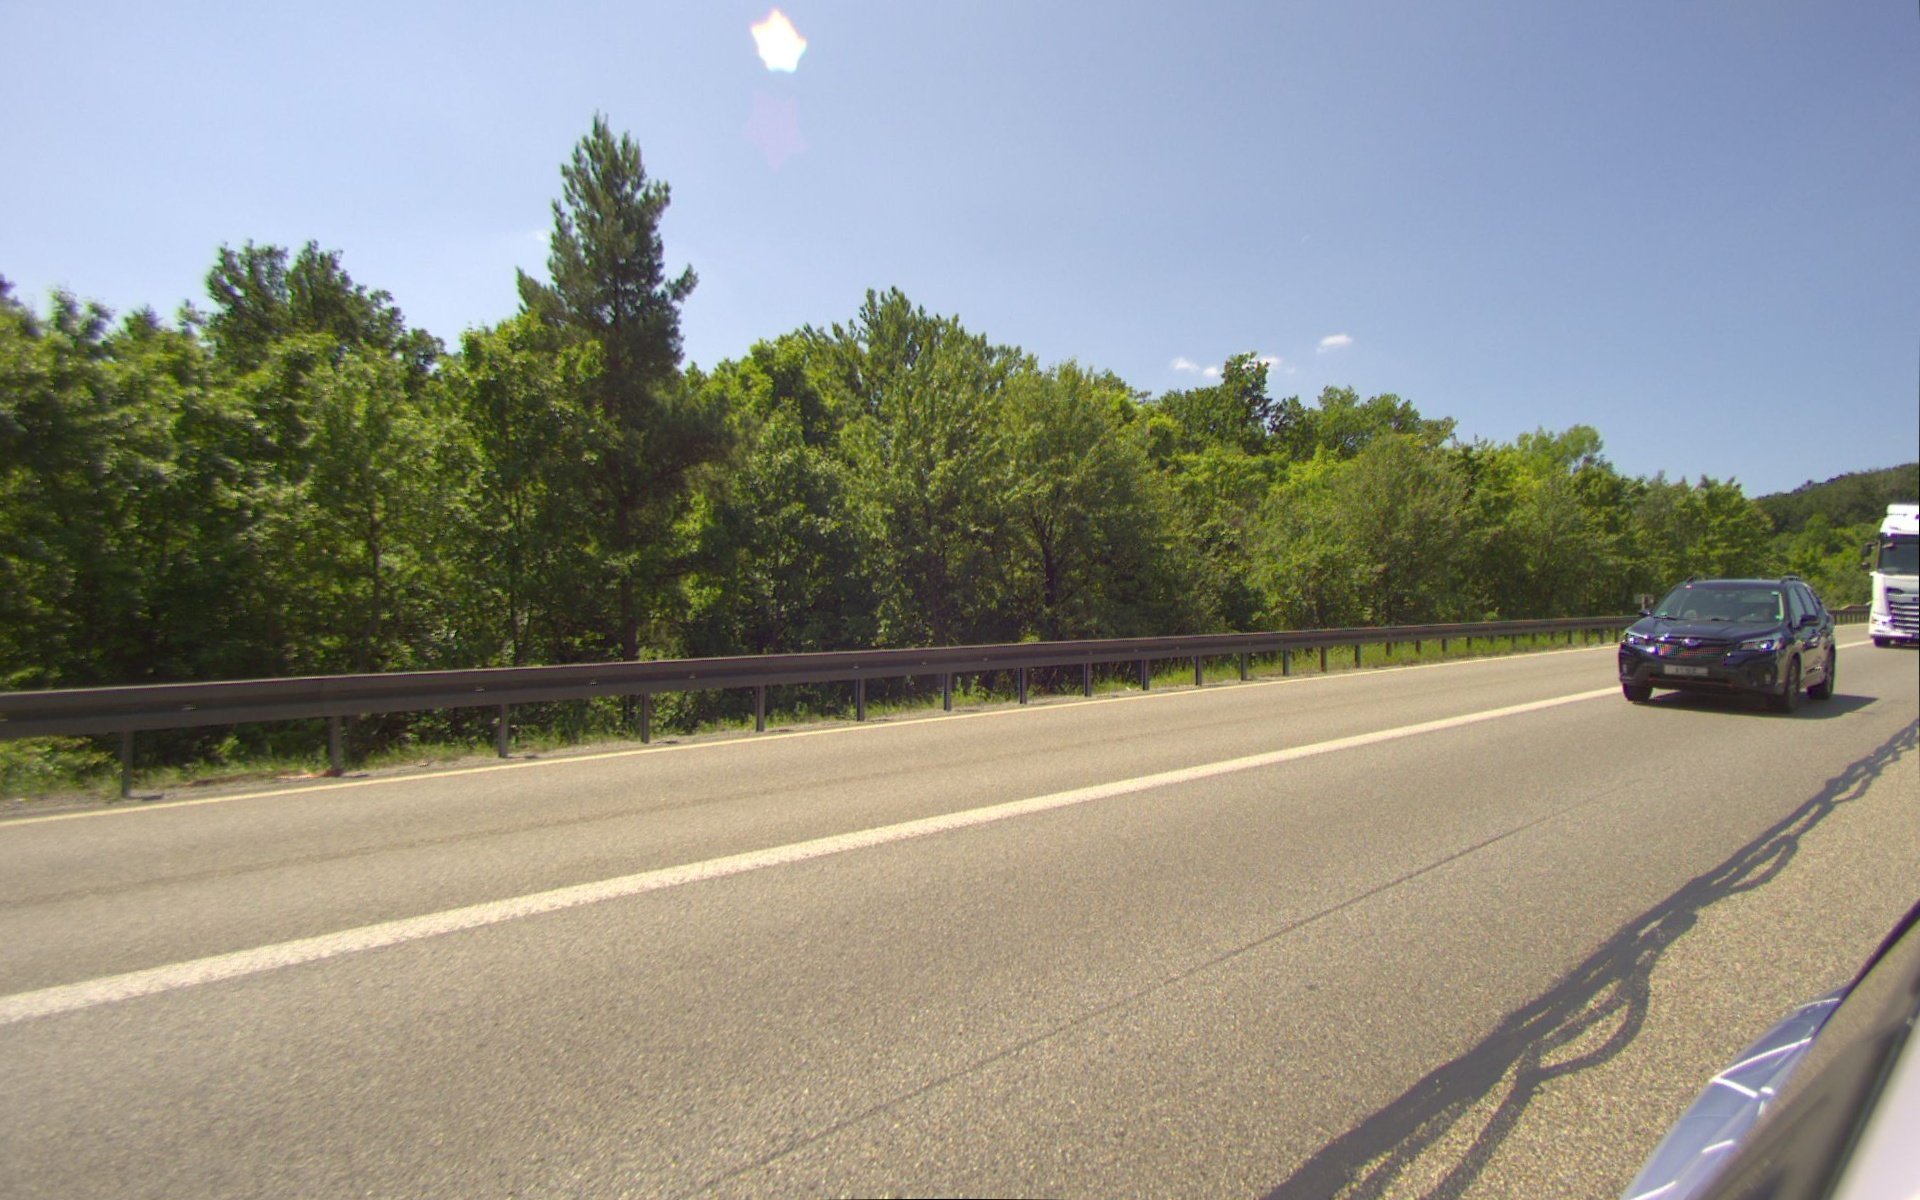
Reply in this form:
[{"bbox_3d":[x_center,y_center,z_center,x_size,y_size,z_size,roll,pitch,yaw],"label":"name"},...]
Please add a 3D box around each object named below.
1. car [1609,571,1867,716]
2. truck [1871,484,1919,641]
[{"bbox_3d":[10.723,0.465,13.861,4.127,1.688,1.816,-1,2,-38],"label":"car"},{"bbox_3d":[32.187,-1.048,32.021,15.979,4.221,2.789,0,1,-40],"label":"truck"}]
